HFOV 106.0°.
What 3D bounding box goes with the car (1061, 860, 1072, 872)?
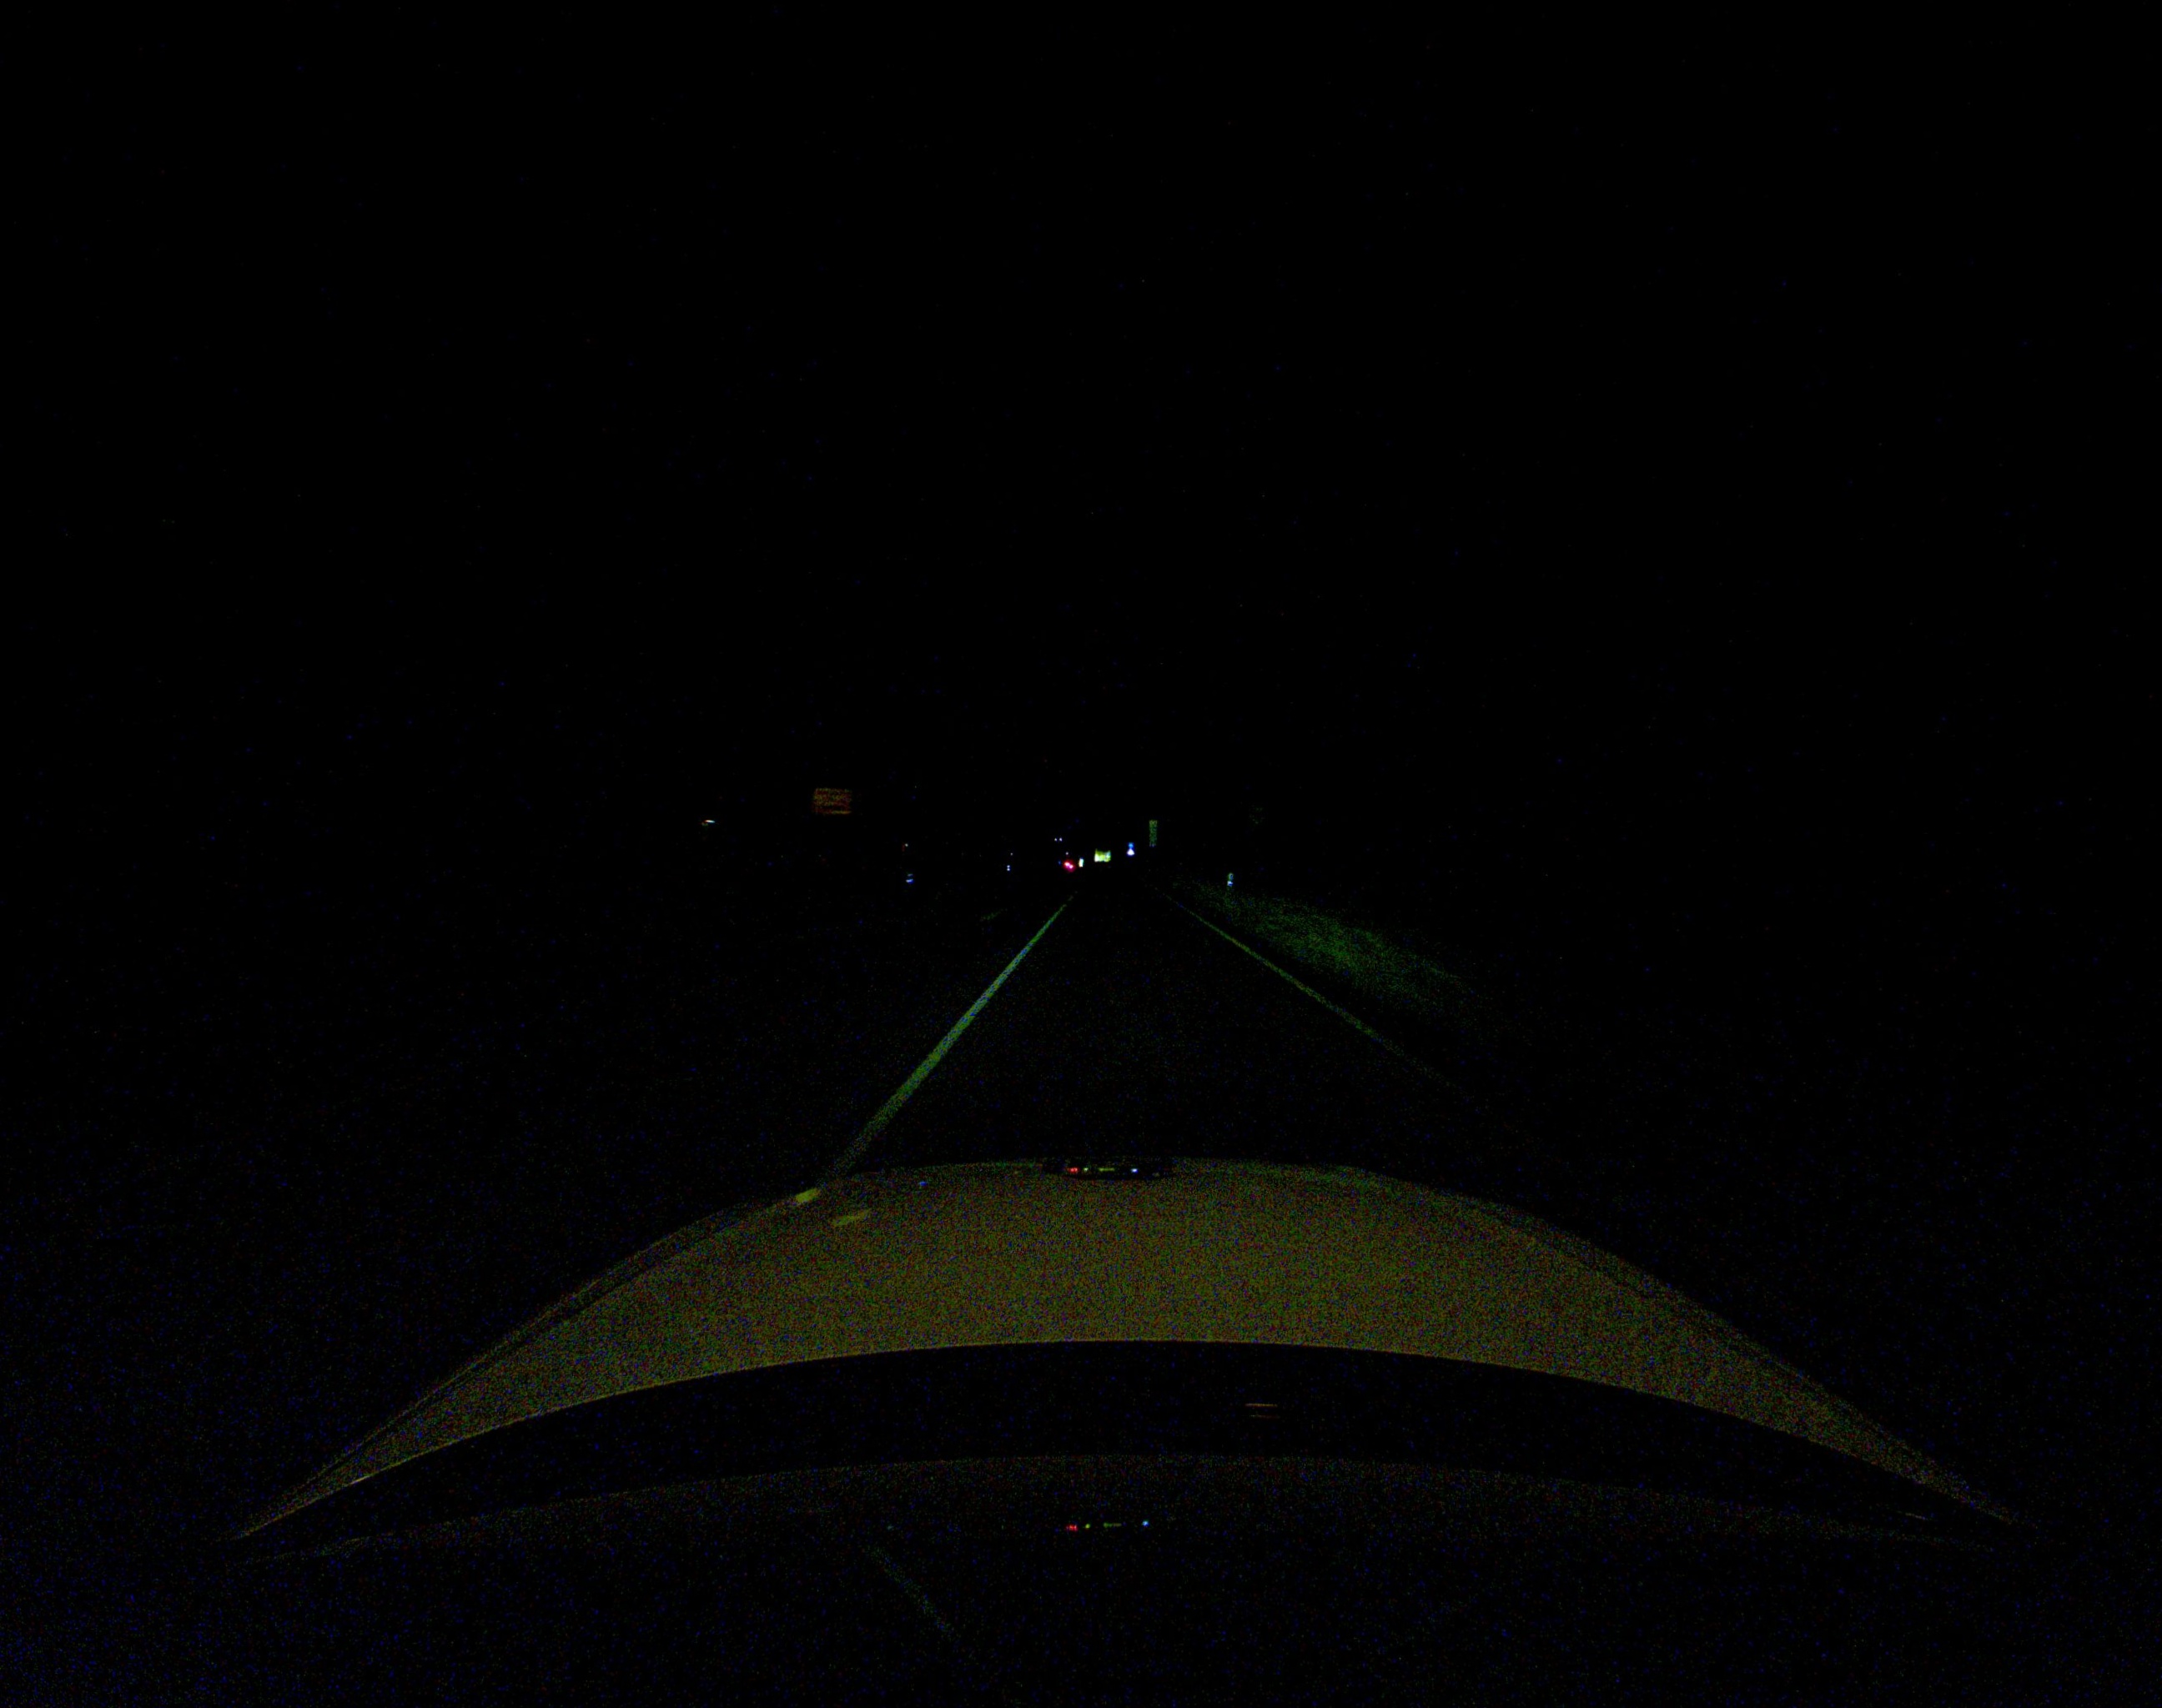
[{"bbox_3d":[-2.798,2.321,157.738,1.990,2.014,3.992,2,-3,-5],"label":"car"}]
